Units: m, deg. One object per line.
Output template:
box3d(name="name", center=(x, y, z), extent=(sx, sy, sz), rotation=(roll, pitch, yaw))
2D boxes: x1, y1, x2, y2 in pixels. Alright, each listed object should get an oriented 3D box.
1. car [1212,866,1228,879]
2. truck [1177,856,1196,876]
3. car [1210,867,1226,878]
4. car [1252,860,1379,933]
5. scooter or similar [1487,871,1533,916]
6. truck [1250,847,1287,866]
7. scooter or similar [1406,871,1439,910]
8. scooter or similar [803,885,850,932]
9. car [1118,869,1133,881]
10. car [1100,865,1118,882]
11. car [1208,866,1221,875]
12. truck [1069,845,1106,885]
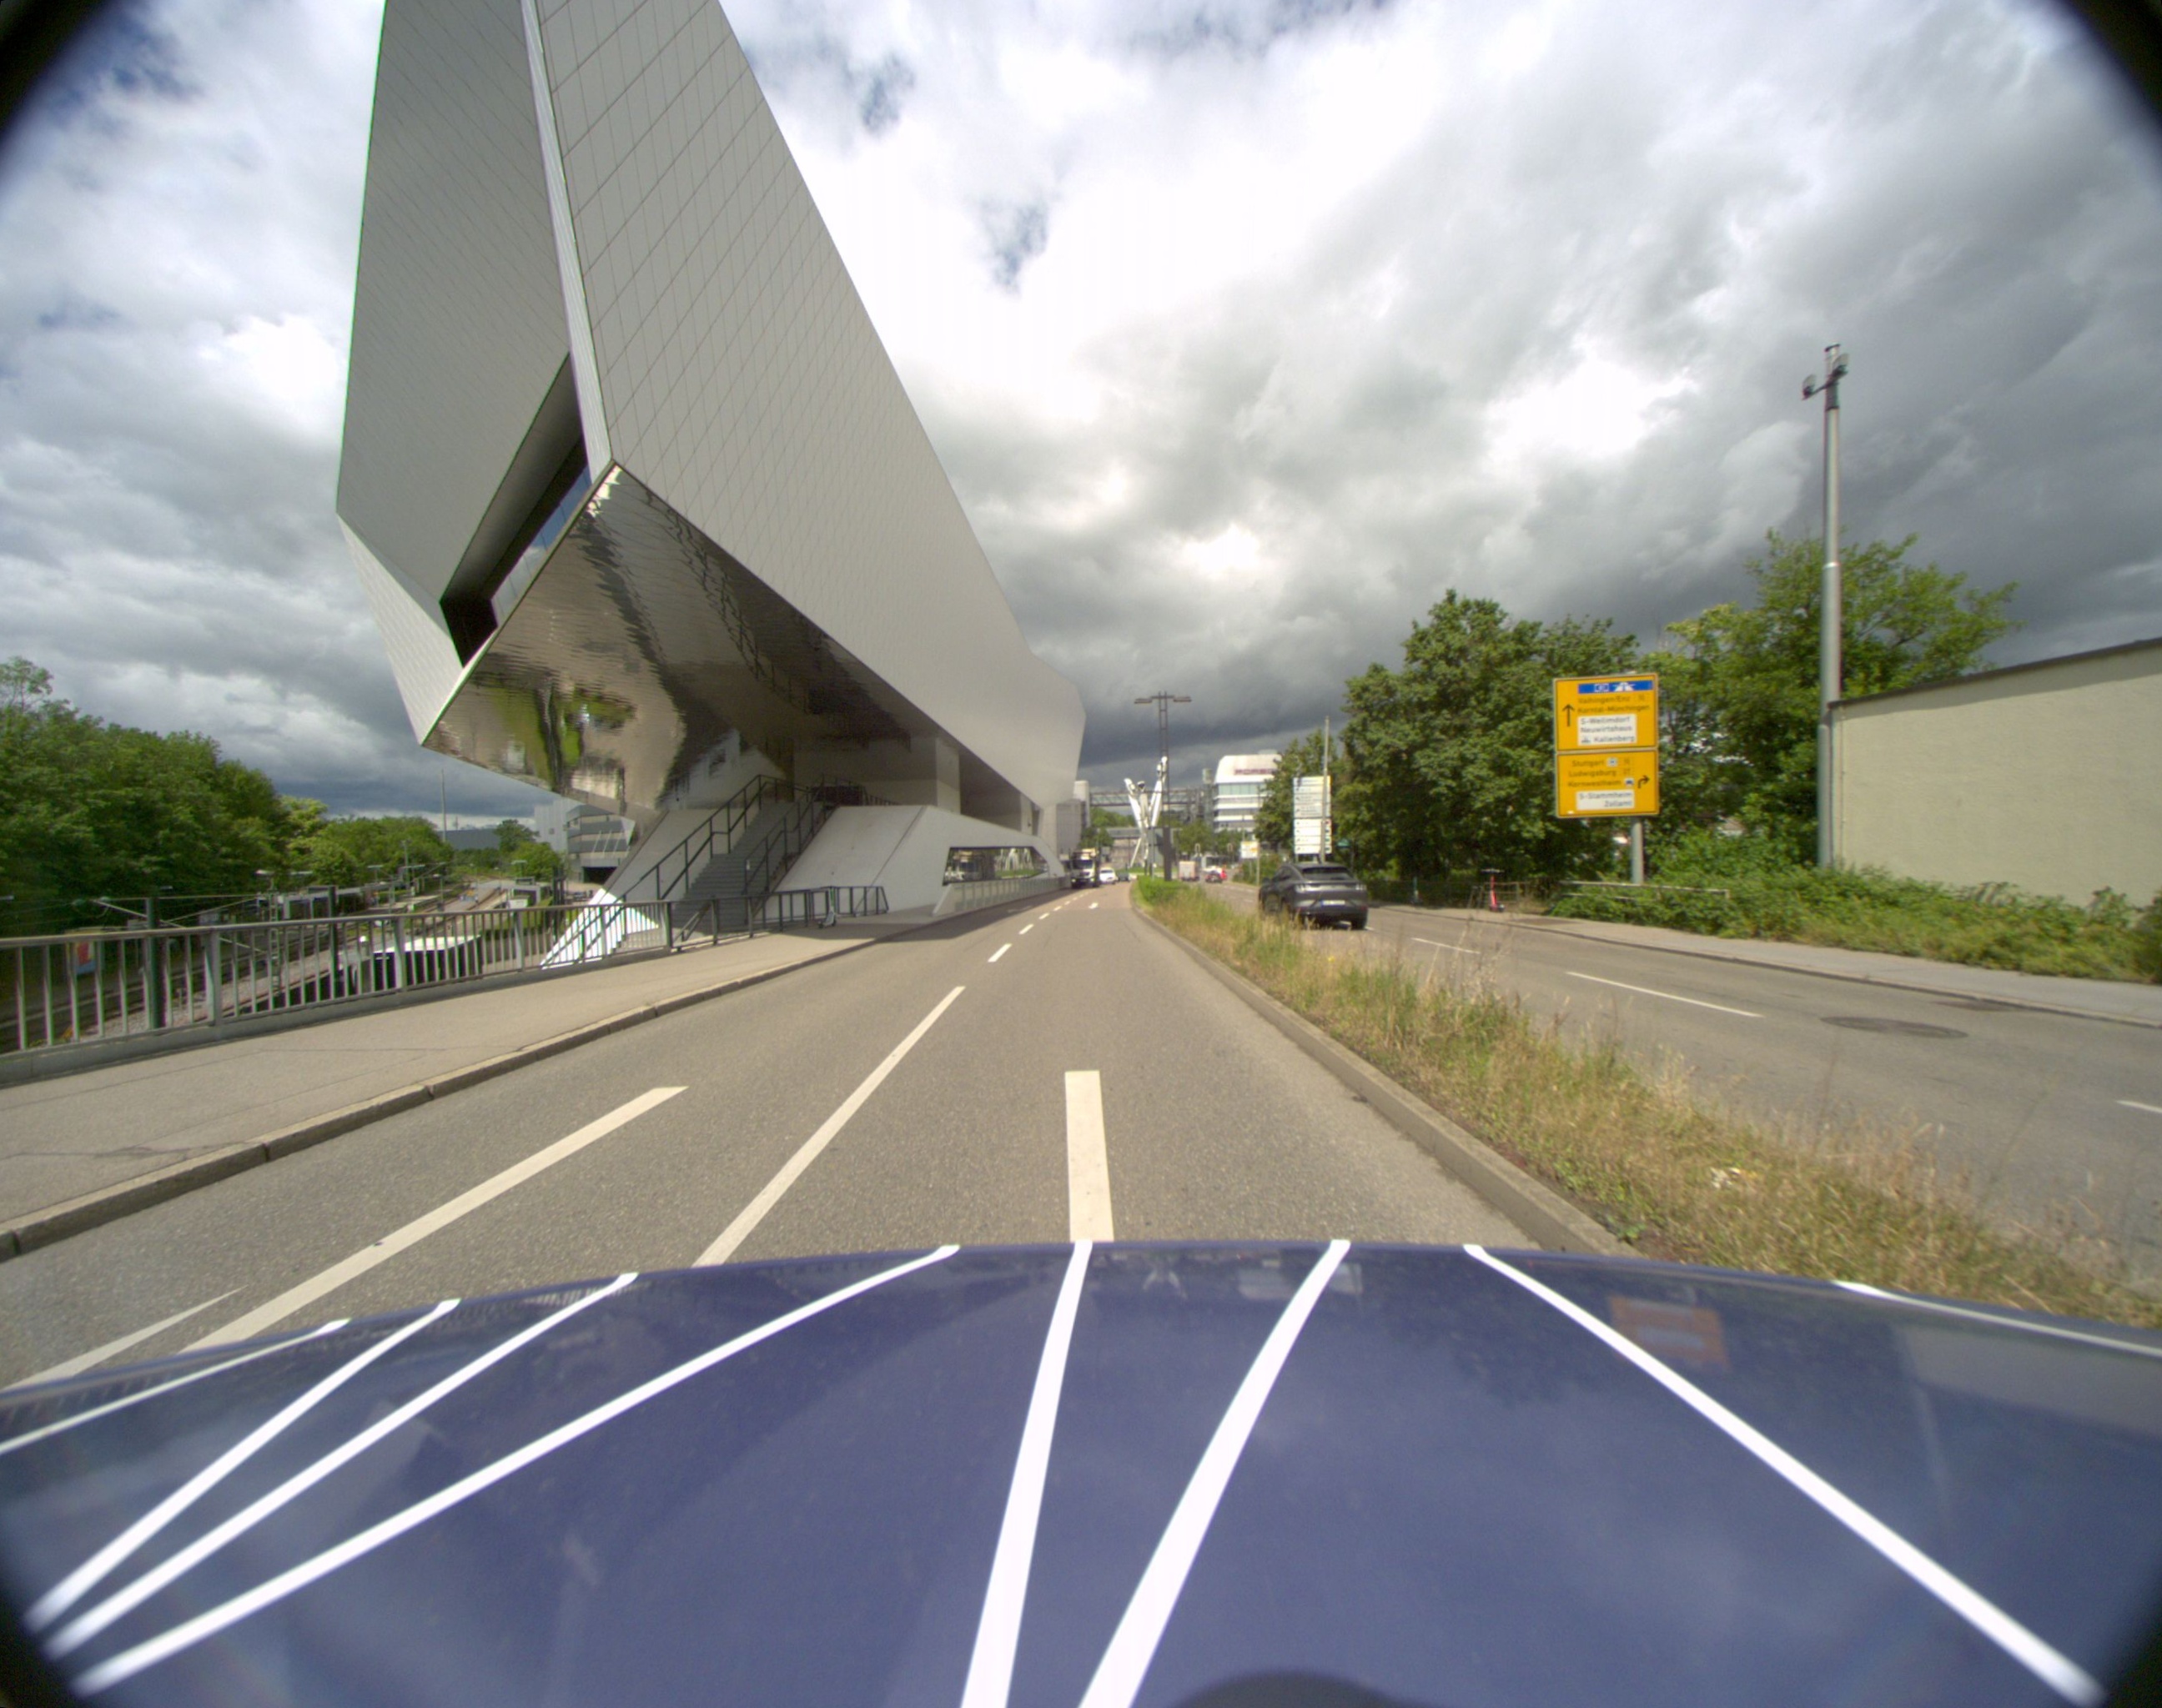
box3d(name="car", center=(22.697, 2.991, 124.284), extent=(1.996, 1.946, 4.634), rotation=(-2, -1, 17))
box3d(name="truck", center=(16.948, 1.929, 122.098), extent=(2.861, 2.839, 9.387), rotation=(-2, -3, 8))
box3d(name="car", center=(18.771, 2.527, 104.325), extent=(1.843, 1.498, 4.565), rotation=(-1, -1, 7))
box3d(name="car", center=(5.746, 0.986, 19.220), extent=(1.882, 1.617, 4.444), rotation=(0, -1, 0))
box3d(name="scooter or similar", center=(12.205, 1.107, 21.667), extent=(0.492, 1.209, 1.644), rotation=(-1, -1, 5))
box3d(name="truck", center=(39.815, 0.648, 161.814), extent=(2.364, 3.546, 8.973), rotation=(-2, -2, -25))
box3d(name="scooter or similar", center=(11.905, 1.249, 26.525), extent=(0.492, 1.296, 1.644), rotation=(-3, -1, 5))
box3d(name="scooter or similar", center=(-7.030, 1.483, 21.062), extent=(0.655, 1.206, 1.858), rotation=(-1, -1, 0))
box3d(name="car", center=(6.396, 3.014, 109.023), extent=(1.817, 1.663, 4.245), rotation=(-1, 0, 7))
box3d(name="car", center=(3.370, 2.315, 90.439), extent=(1.986, 1.702, 4.761), rotation=(-2, 1, 3))
box3d(name="car", center=(20.651, 2.541, 117.414), extent=(1.799, 1.413, 4.497), rotation=(0, -1, 13))
box3d(name="truck", center=(0.780, 1.106, 76.370), extent=(2.842, 3.668, 10.758), rotation=(-1, -1, 4))
